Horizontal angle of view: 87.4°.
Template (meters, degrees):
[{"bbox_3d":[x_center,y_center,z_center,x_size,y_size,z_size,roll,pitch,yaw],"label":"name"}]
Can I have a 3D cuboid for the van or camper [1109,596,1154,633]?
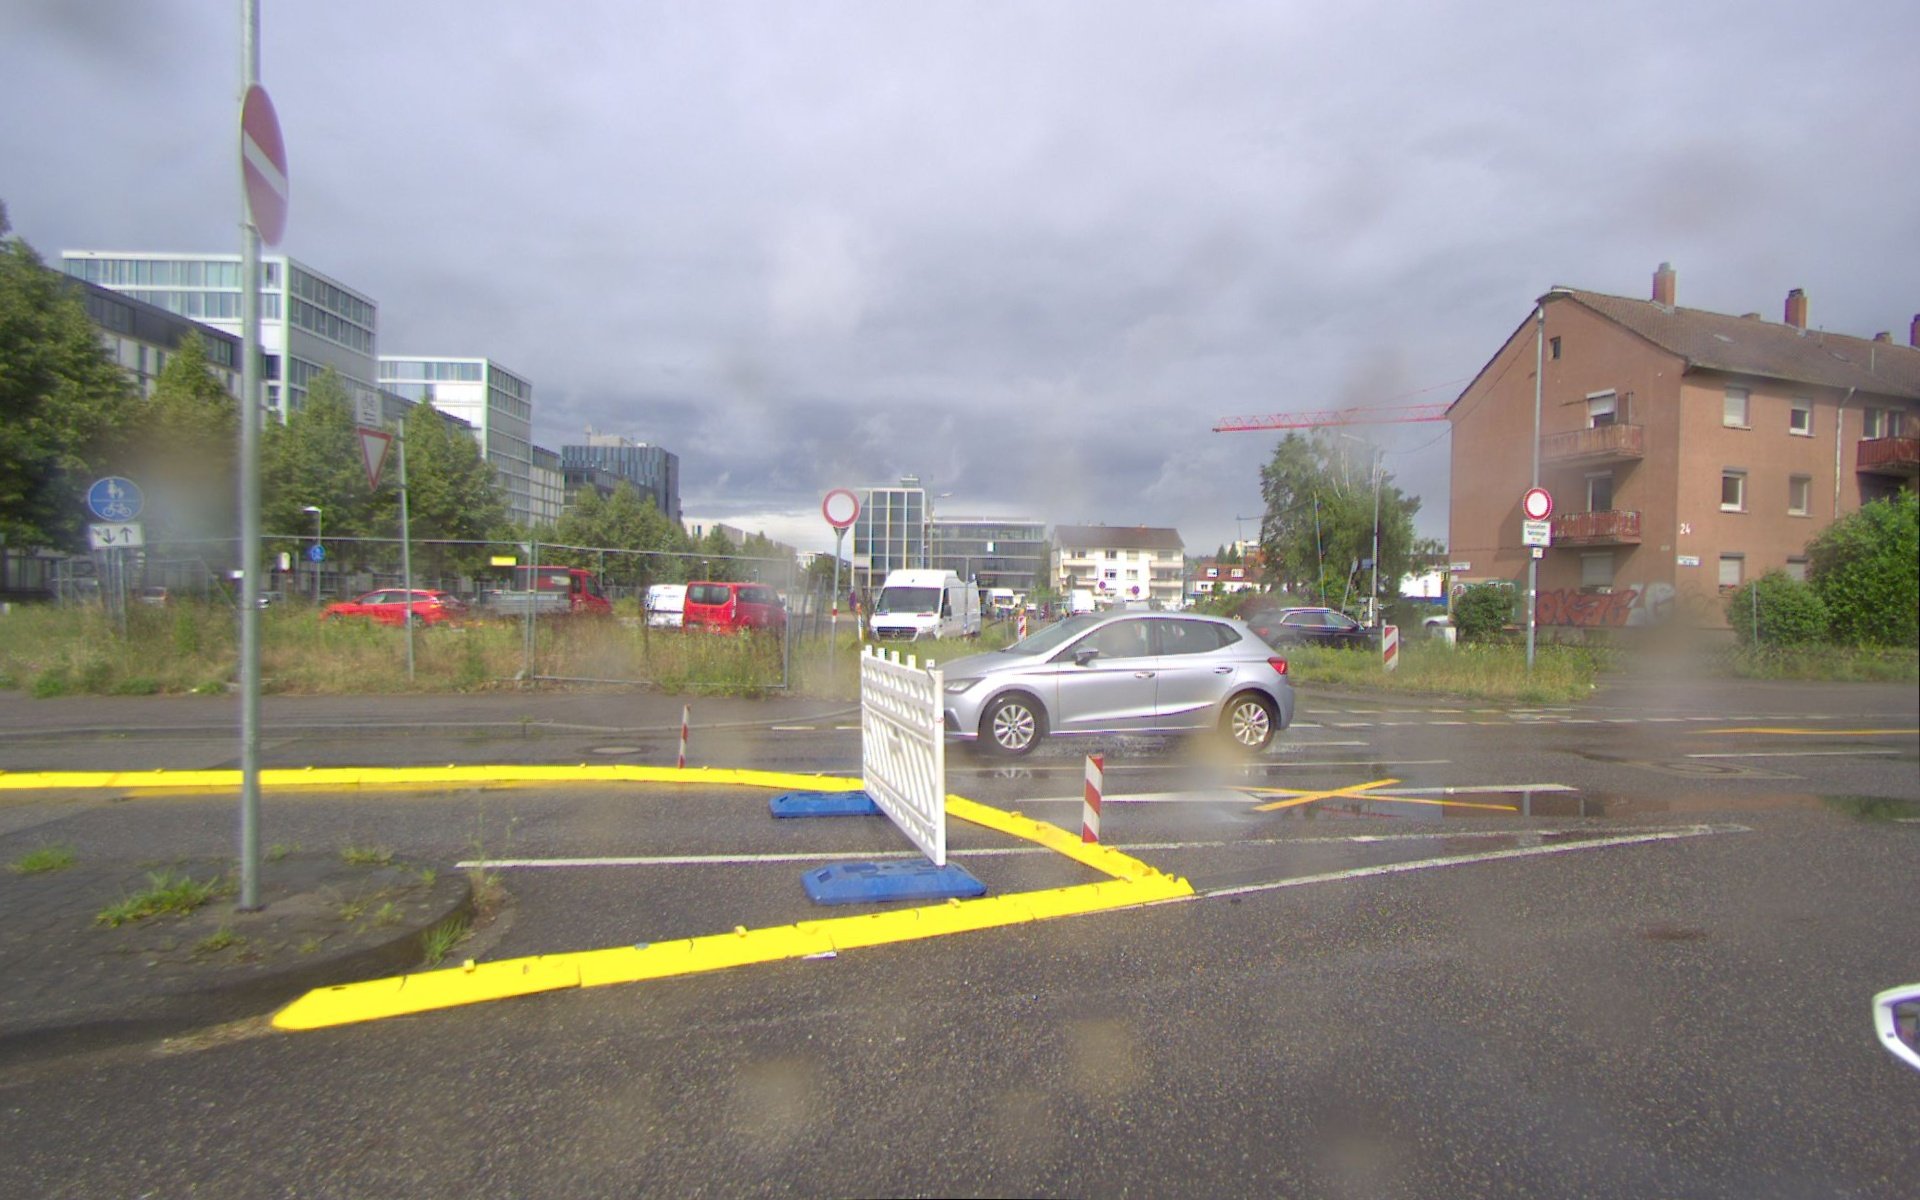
[{"bbox_3d":[11.290,0.901,66.434,1.960,2.304,5.918,1,1,1],"label":"van or camper"}]

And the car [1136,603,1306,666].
[{"bbox_3d":[7.260,0.957,28.103,4.248,1.639,1.757,1,1,-9],"label":"car"}]

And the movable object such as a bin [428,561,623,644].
[{"bbox_3d":[-14.108,0.072,33.277,2.621,2.419,6.618,1,0,11],"label":"movable object such as a bin"}]

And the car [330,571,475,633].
[{"bbox_3d":[-19.475,0.053,35.224,3.923,2.040,1.999,1,0,-3],"label":"car"}]

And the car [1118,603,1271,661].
[{"bbox_3d":[7.115,0.972,30.675,4.181,1.639,1.757,1,1,-9],"label":"car"}]

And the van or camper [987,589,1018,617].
[{"bbox_3d":[3.586,0.227,85.718,1.962,2.341,4.880,1,1,-6],"label":"van or camper"}]

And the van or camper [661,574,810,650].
[{"bbox_3d":[-7.259,0.354,33.412,2.390,2.218,6.403,1,0,11],"label":"van or camper"}]

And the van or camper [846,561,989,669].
[{"bbox_3d":[-1.007,0.364,28.995,2.460,2.682,6.987,1,0,11],"label":"van or camper"}]

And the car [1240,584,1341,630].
[{"bbox_3d":[15.515,0.309,47.318,4.235,2.045,1.717,1,1,8],"label":"car"}]

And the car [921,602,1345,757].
[{"bbox_3d":[1.765,0.801,10.756,4.107,1.434,1.739,1,1,-12],"label":"car"}]

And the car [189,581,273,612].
[{"bbox_3d":[-40.096,-0.214,55.336,1.792,1.640,3.771,1,1,1],"label":"car"}]
